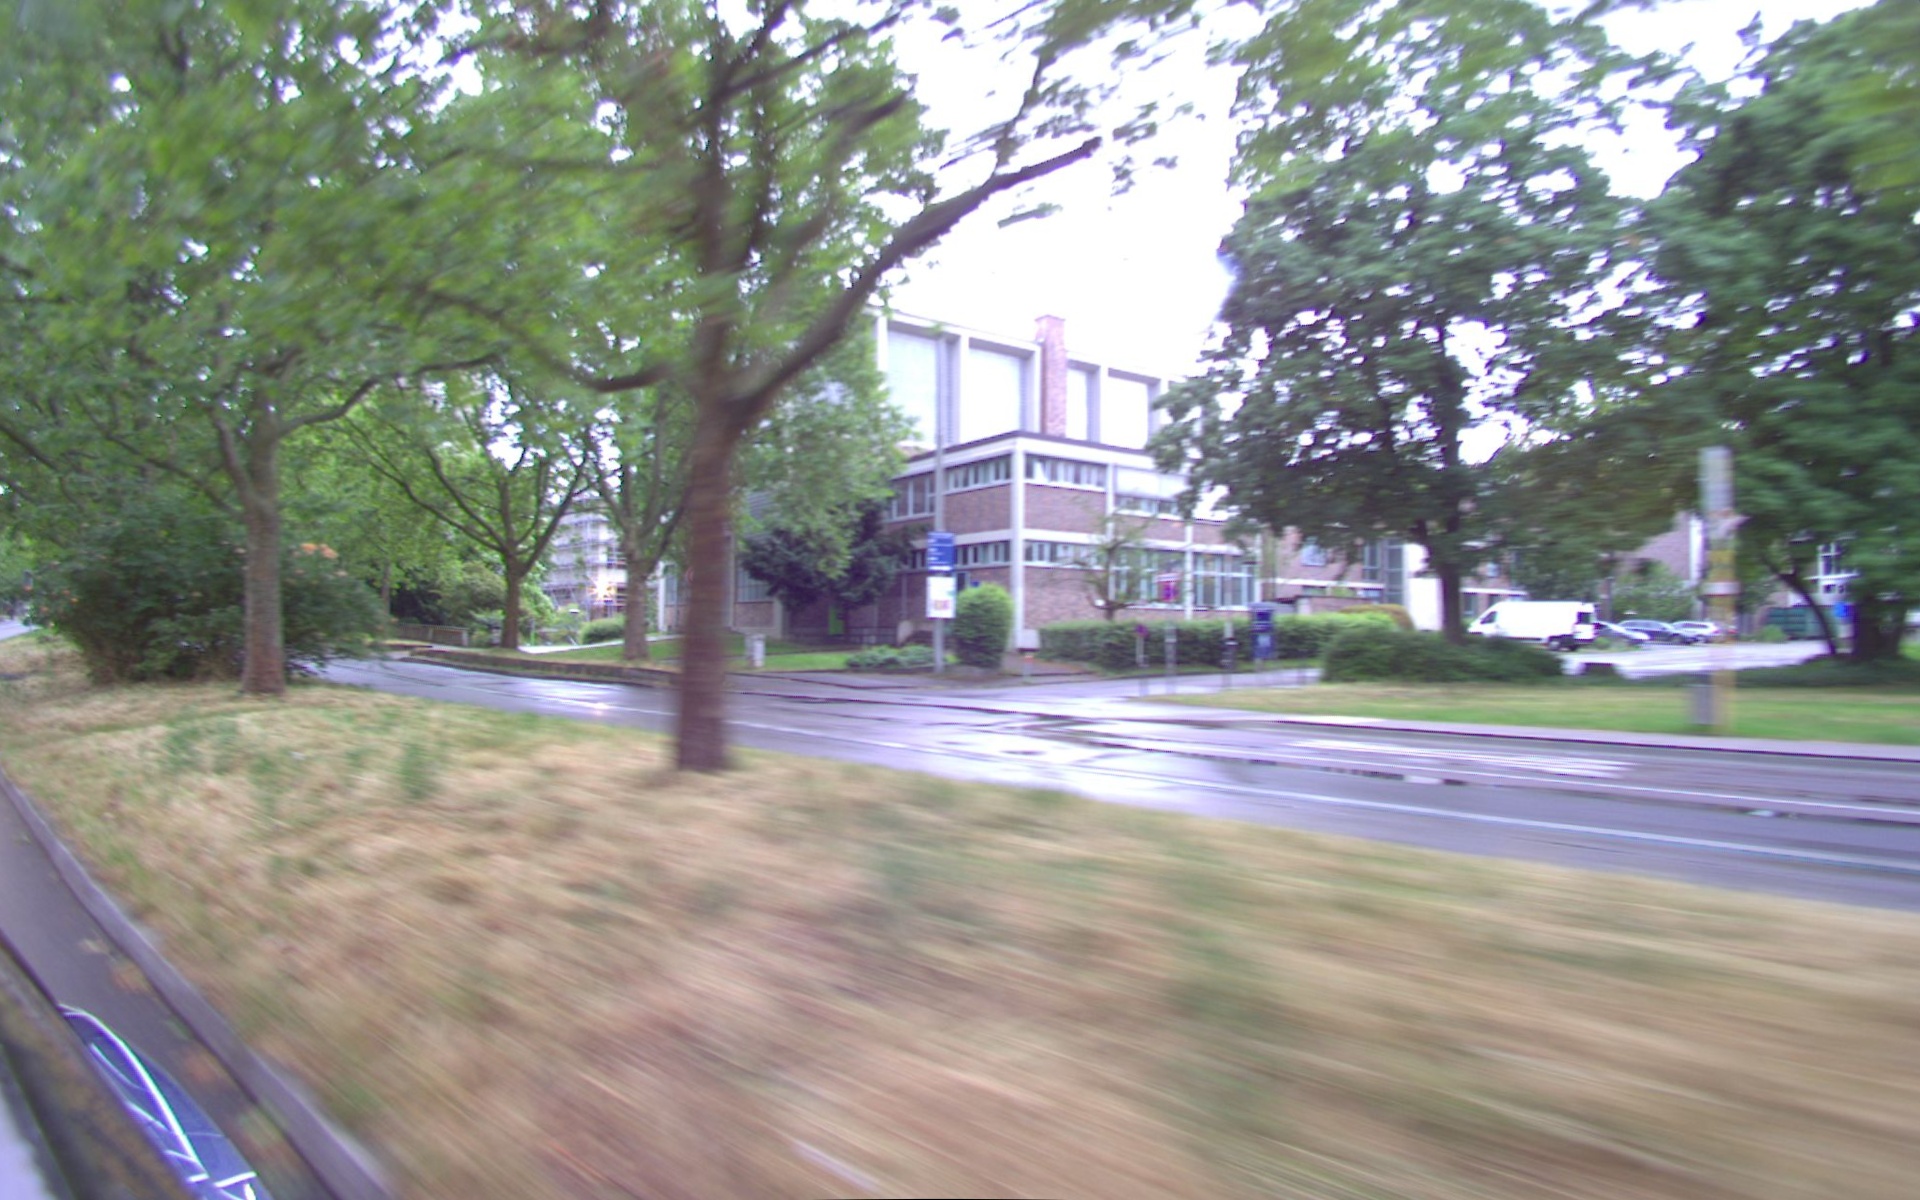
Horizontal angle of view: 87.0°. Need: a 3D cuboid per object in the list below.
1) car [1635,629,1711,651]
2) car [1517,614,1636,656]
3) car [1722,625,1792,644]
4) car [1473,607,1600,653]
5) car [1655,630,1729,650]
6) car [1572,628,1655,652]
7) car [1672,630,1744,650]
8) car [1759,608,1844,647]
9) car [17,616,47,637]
[{"bbox_3d":[44.117,2.465,62.693,1.566,1.151,3.565,0,0,-35],"label":"car"},{"bbox_3d":[33.701,1.863,55.430,2.250,2.037,5.092,0,0,-35],"label":"car"},{"bbox_3d":[56.101,2.400,71.292,1.566,1.151,3.565,0,0,-35],"label":"car"},{"bbox_3d":[30.235,1.494,53.251,2.080,2.229,5.484,0,0,-32],"label":"car"},{"bbox_3d":[47.519,2.599,65.769,1.566,1.151,3.565,0,0,-35],"label":"car"},{"bbox_3d":[36.411,2.222,56.449,1.662,1.151,3.565,0,0,-35],"label":"car"},{"bbox_3d":[49.743,2.632,67.371,1.566,1.151,3.565,0,0,-35],"label":"car"},{"bbox_3d":[66.263,2.115,79.687,6.357,2.838,3.608,0,0,-34],"label":"car"},{"bbox_3d":[-85.762,2.446,93.538,1.856,1.890,4.749,-1,0,-41],"label":"car"}]
